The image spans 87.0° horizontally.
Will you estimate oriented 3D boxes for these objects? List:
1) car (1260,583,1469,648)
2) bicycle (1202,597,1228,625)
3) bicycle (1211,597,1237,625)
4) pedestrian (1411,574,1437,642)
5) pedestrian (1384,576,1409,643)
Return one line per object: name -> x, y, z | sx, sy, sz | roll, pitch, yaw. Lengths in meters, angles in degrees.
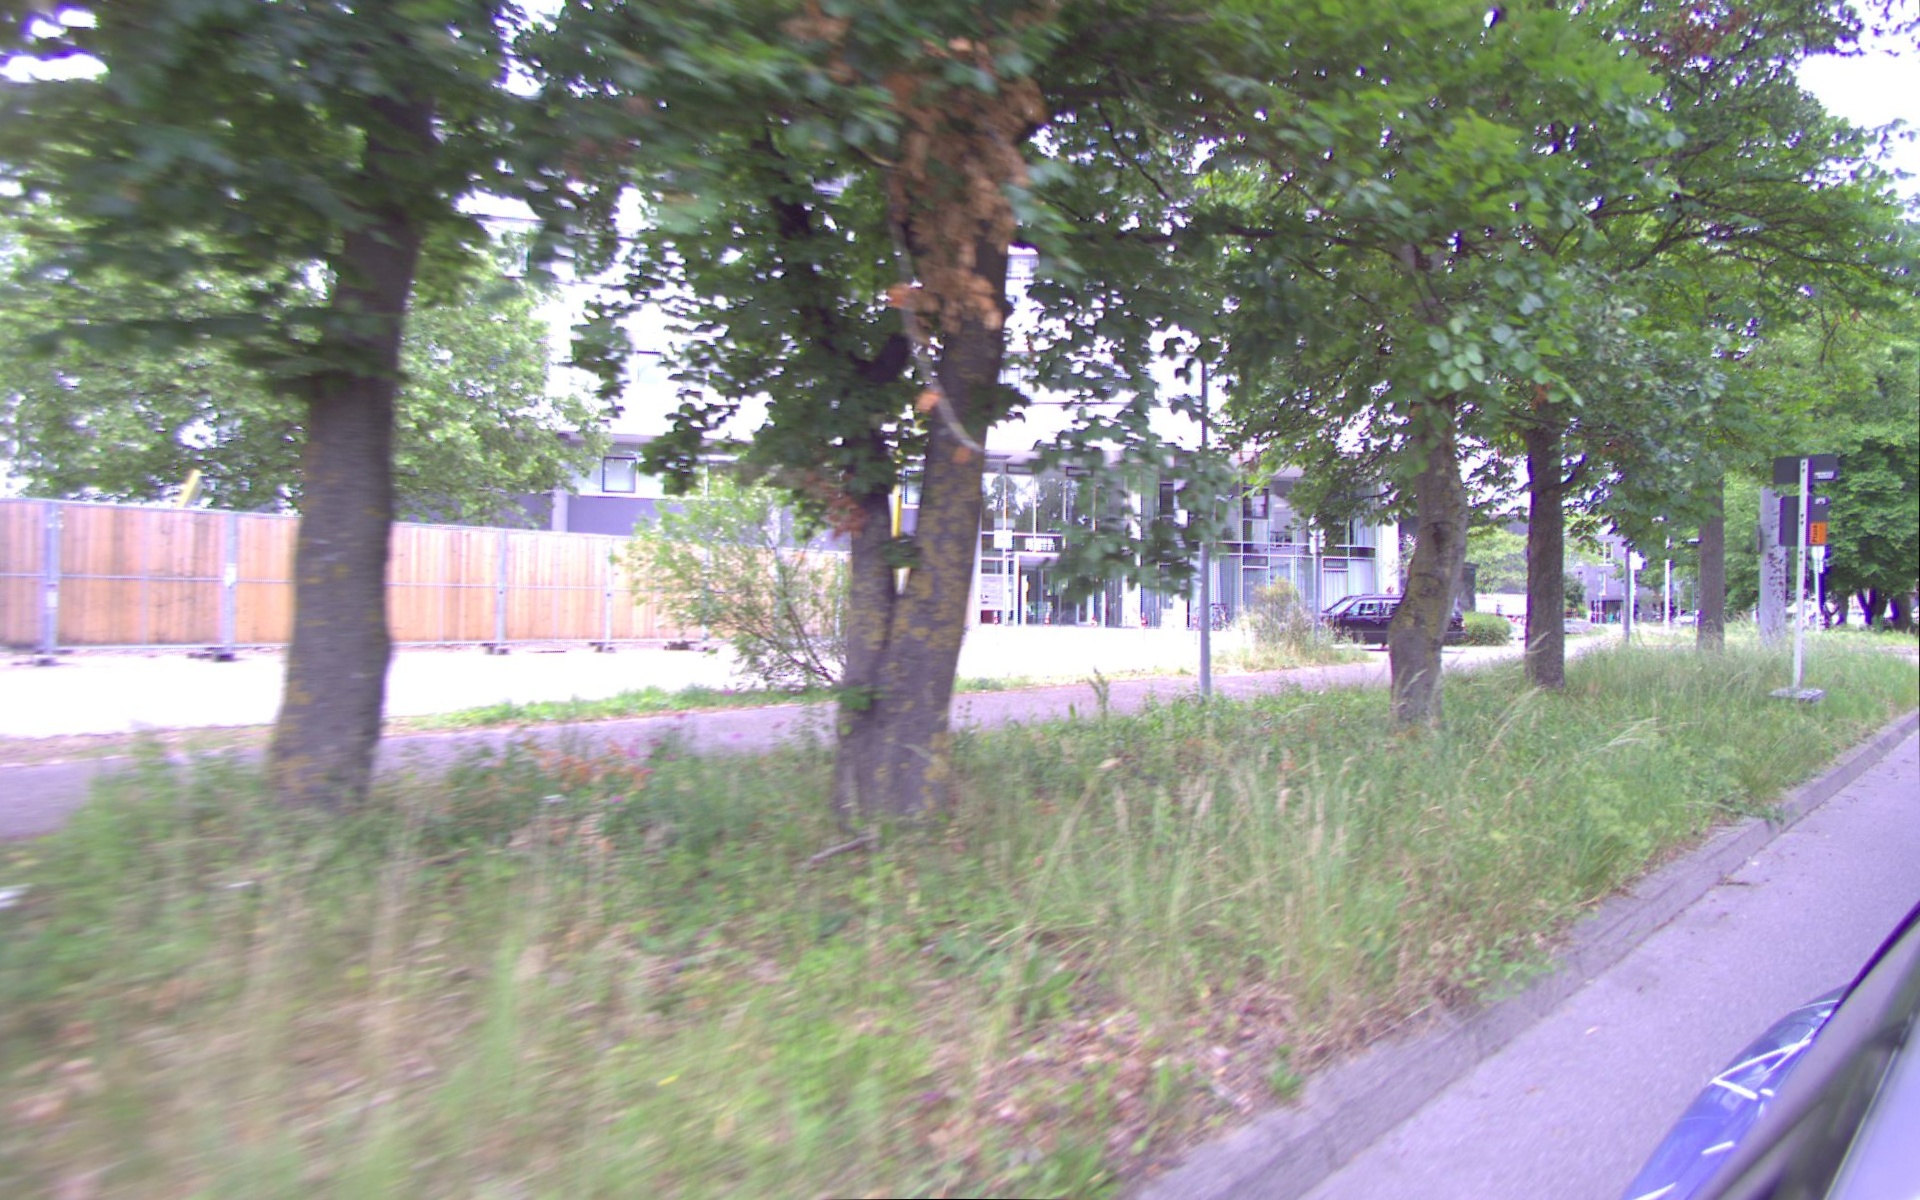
car -> 10.420, 0.369, 26.339 | 4.658, 1.535, 1.869 | 1, 1, 5
bicycle -> 9.930, 0.432, 39.384 | 0.384, 1.086, 1.403 | -1, -1, -12
bicycle -> 10.388, 0.438, 39.804 | 0.384, 1.086, 1.403 | -1, -1, -12
pedestrian -> 12.482, 0.217, 27.233 | 0.469, 1.777, 0.580 | 3, -2, 19
pedestrian -> 11.730, 0.262, 27.223 | 0.492, 1.747, 0.533 | 3, -2, 19
